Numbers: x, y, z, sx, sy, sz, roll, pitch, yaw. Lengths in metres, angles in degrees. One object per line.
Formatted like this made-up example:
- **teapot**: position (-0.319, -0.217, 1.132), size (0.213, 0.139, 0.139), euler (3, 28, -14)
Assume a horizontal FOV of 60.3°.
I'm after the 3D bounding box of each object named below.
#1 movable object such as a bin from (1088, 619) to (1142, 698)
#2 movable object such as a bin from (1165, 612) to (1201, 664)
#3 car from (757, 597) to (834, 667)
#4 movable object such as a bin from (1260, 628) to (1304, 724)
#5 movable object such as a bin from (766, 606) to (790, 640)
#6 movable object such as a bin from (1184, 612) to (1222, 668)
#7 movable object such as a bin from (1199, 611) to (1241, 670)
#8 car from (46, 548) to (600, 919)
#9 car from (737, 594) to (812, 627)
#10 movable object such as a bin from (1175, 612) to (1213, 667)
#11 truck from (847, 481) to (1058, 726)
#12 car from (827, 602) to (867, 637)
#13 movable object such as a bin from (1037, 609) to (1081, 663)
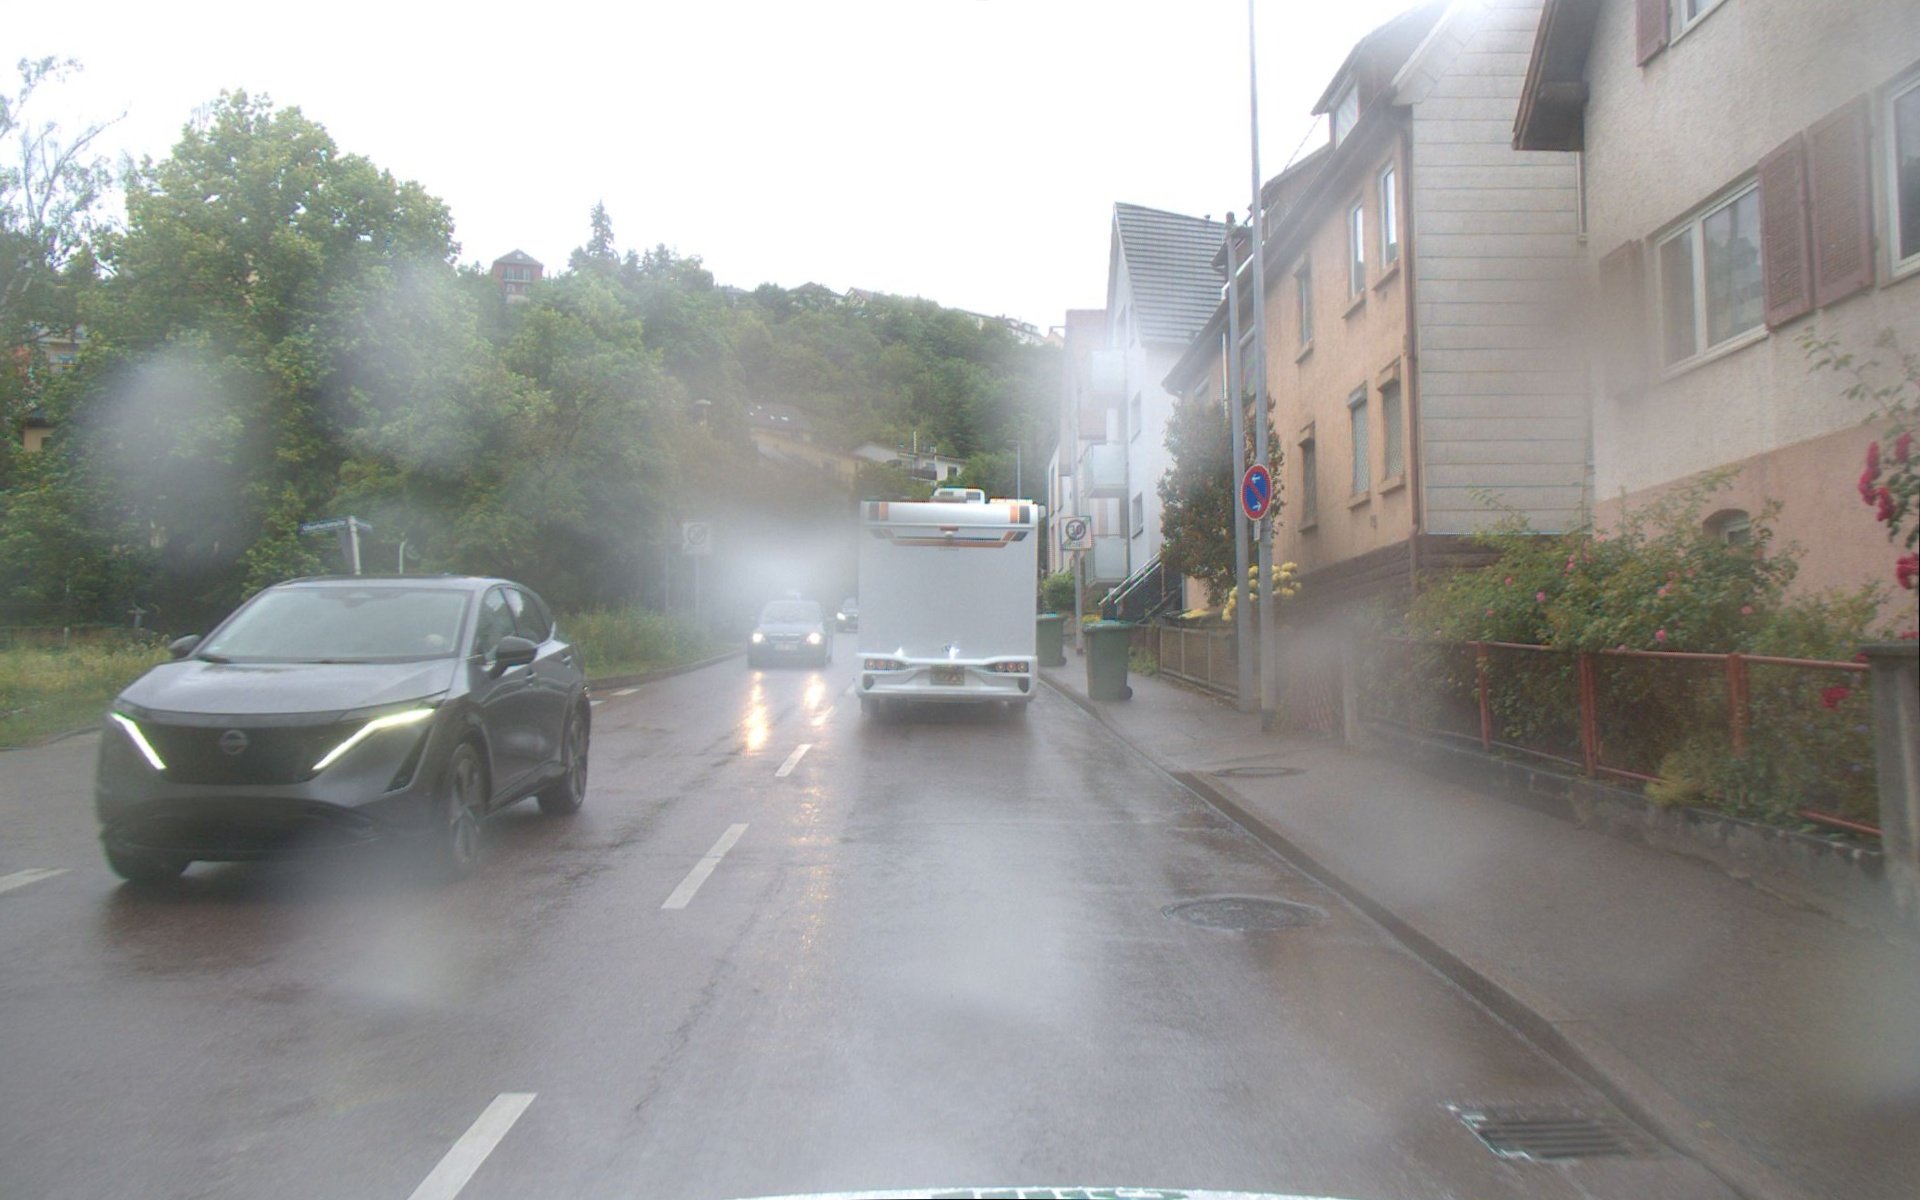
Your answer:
- **movable object such as a bin**: position (2.184, 0.815, 23.333), size (0.705, 1.070, 0.800), euler (0, 0, 2)
- **movable object such as a bin**: position (4.964, 0.841, 36.843), size (0.647, 1.112, 0.545), euler (-4, 0, -3)
- **car**: position (-3.663, 0.690, 37.240), size (1.529, 1.480, 4.082), euler (1, 0, -3)
- **movable object such as a bin**: position (3.541, 0.830, 18.195), size (0.372, 1.036, 0.487), euler (1, 0, -1)
- **movable object such as a bin**: position (-6.150, 0.769, 55.786), size (0.706, 1.119, 0.757), euler (2, 0, -1)
- **movable object such as a bin**: position (5.044, 0.826, 34.372), size (0.632, 1.112, 0.545), euler (-4, 0, -3)
- **movable object such as a bin**: position (5.096, 0.792, 32.418), size (0.647, 1.112, 0.655), euler (-3, 0, -3)
- **car**: position (-3.440, 0.628, 9.900), size (1.715, 1.718, 4.374), euler (1, 0, -2)
- **car**: position (-10.652, 0.587, 95.177), size (4.021, 1.831, 2.000), euler (1, 0, 1)
- **movable object such as a bin**: position (4.946, 0.826, 35.024), size (0.647, 1.112, 0.545), euler (-4, 0, -3)
- **truck**: position (-0.125, 0.047, 22.638), size (2.464, 2.867, 6.200), euler (1, 0, -1)
- **car**: position (-4.819, 0.803, 70.994), size (1.685, 1.455, 3.842), euler (0, 0, -3)
- **movable object such as a bin**: position (2.099, 0.764, 35.138), size (0.895, 1.122, 0.702), euler (1, 0, 1)
